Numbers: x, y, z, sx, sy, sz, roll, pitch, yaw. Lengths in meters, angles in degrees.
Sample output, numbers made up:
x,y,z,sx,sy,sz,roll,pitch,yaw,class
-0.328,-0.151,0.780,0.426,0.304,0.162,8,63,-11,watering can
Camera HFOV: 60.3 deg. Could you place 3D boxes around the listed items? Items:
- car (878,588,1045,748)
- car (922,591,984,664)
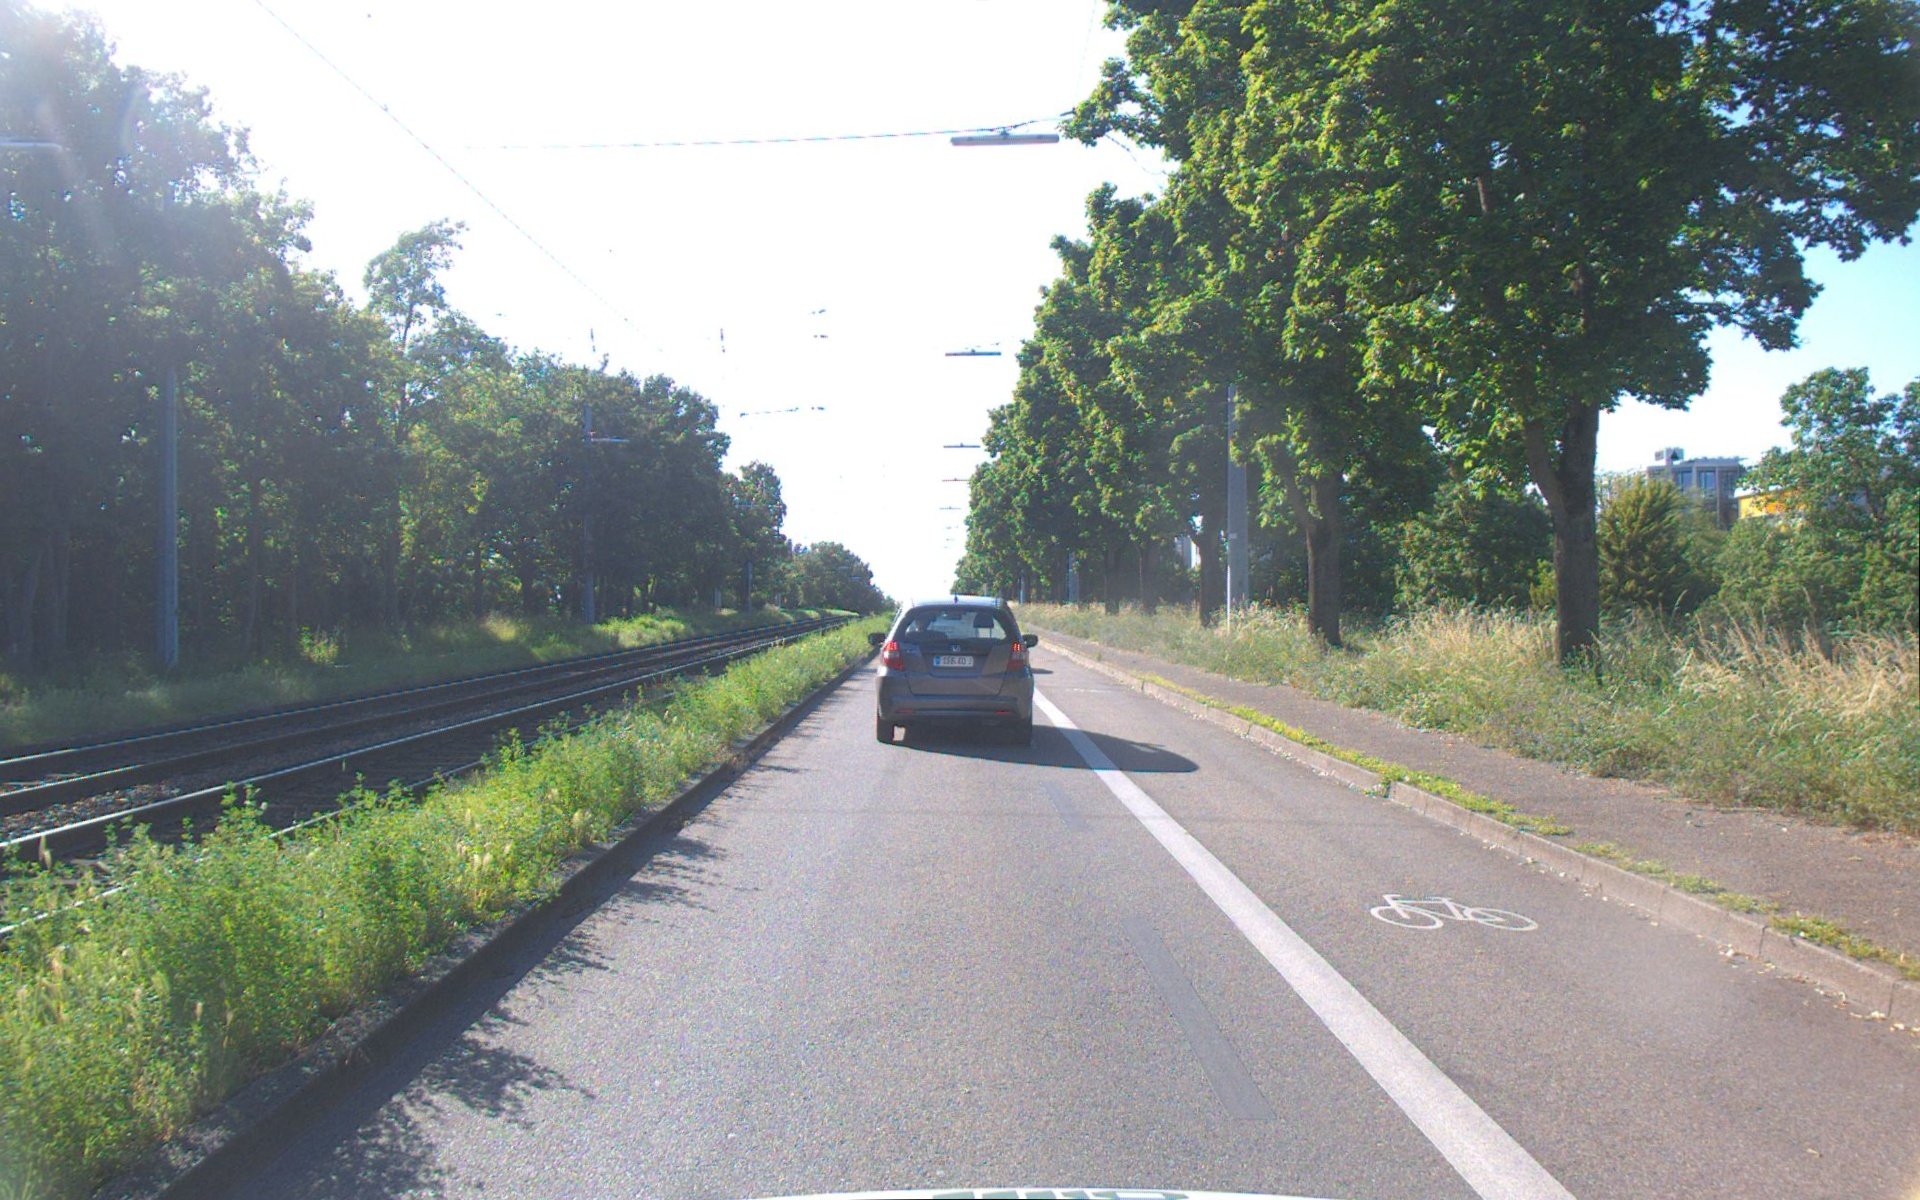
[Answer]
x,y,z,sx,sy,sz,roll,pitch,yaw,class
-0.045,0.673,18.414,1.637,1.542,3.672,1,1,-2,car
-0.148,0.625,37.553,1.323,1.554,3.123,-1,-1,0,car
